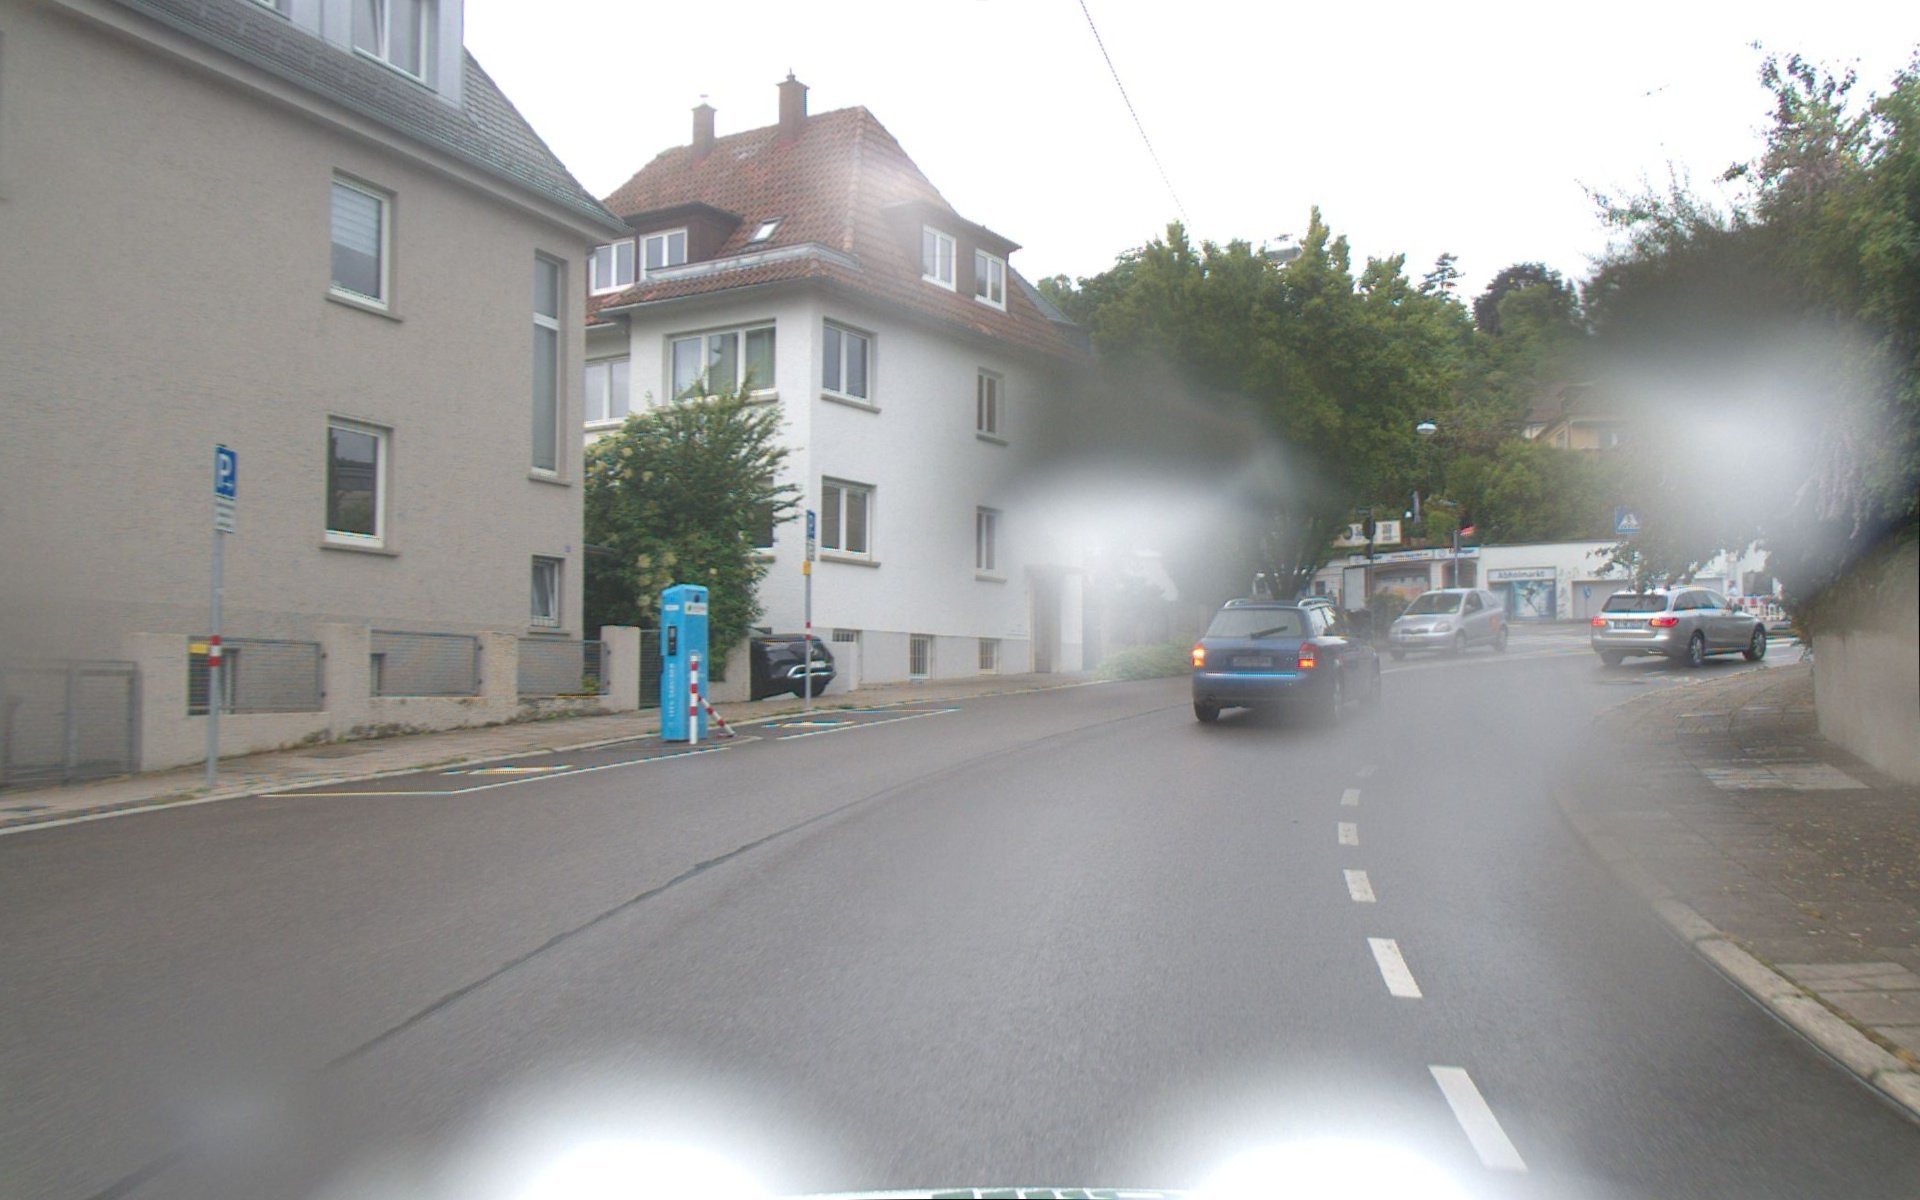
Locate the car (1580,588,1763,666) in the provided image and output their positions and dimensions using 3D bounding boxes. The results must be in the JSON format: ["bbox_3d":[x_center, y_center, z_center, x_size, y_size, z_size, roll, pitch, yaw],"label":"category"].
[{"bbox_3d":[13.563,0.469,31.428,3.968,1.384,1.789,-1,1,-43],"label":"car"}]

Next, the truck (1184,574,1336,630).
[{"bbox_3d":[12.992,0.058,72.195,2.292,2.309,6.714,0,0,-39],"label":"truck"}]

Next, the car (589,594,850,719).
[{"bbox_3d":[-4.260,1.001,29.156,4.165,1.651,1.995,-9,-5,32],"label":"car"}]

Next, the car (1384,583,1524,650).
[{"bbox_3d":[11.331,0.359,37.821,1.467,1.448,3.830,1,0,44],"label":"car"}]

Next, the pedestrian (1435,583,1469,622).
[{"bbox_3d":[20.016,0.103,67.290,0.880,1.531,0.967,-2,2,-35],"label":"pedestrian"}]

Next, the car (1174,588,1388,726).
[{"bbox_3d":[4.082,0.646,20.533,1.774,1.464,4.081,-2,0,23],"label":"car"}]

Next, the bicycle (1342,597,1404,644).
[{"bbox_3d":[10.916,0.531,43.673,1.941,1.104,0.416,-4,2,-36],"label":"bicycle"}]
